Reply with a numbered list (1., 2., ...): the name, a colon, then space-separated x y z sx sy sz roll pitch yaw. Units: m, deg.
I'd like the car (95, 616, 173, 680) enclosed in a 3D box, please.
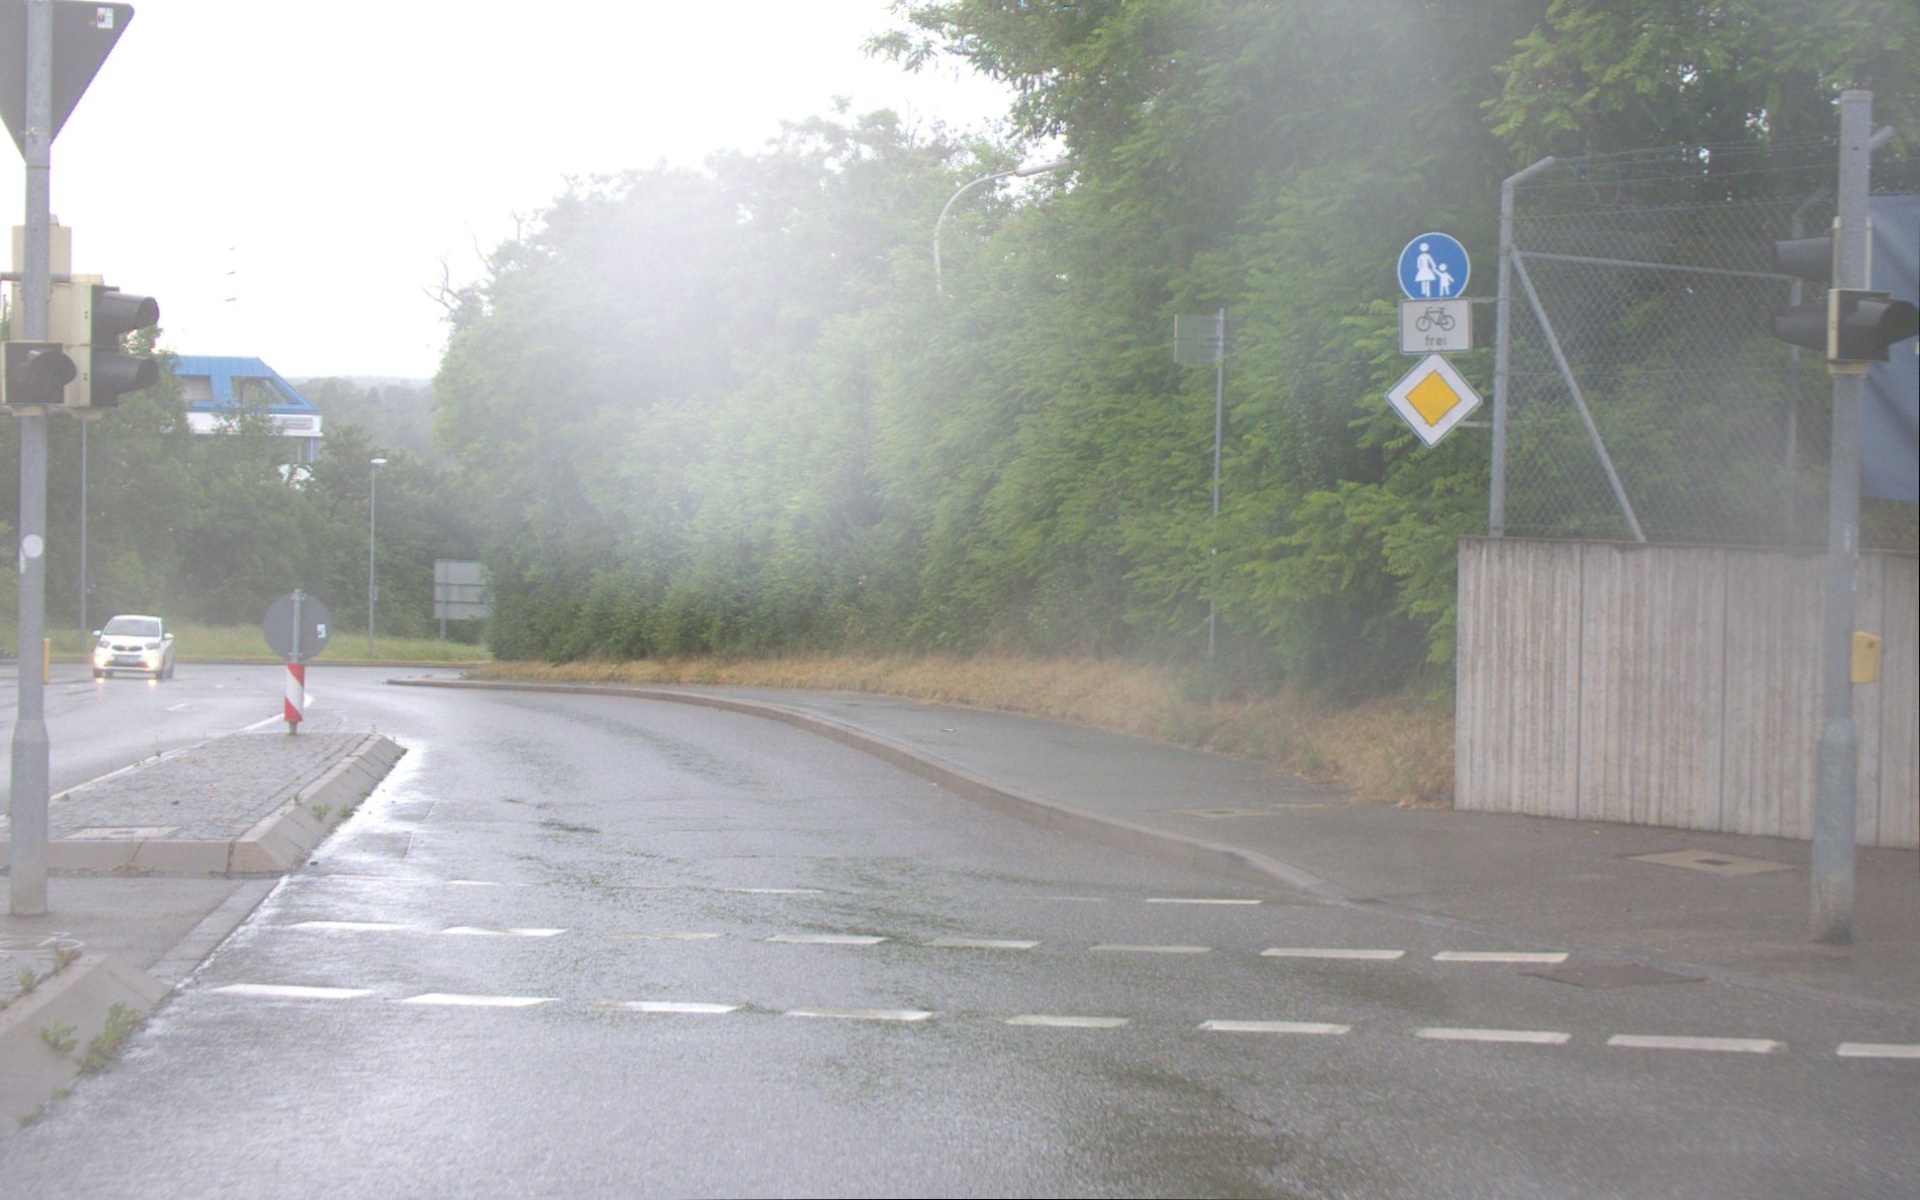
1. car: -19.524 1.121 81.338 1.652 1.424 3.794 1 1 -12
